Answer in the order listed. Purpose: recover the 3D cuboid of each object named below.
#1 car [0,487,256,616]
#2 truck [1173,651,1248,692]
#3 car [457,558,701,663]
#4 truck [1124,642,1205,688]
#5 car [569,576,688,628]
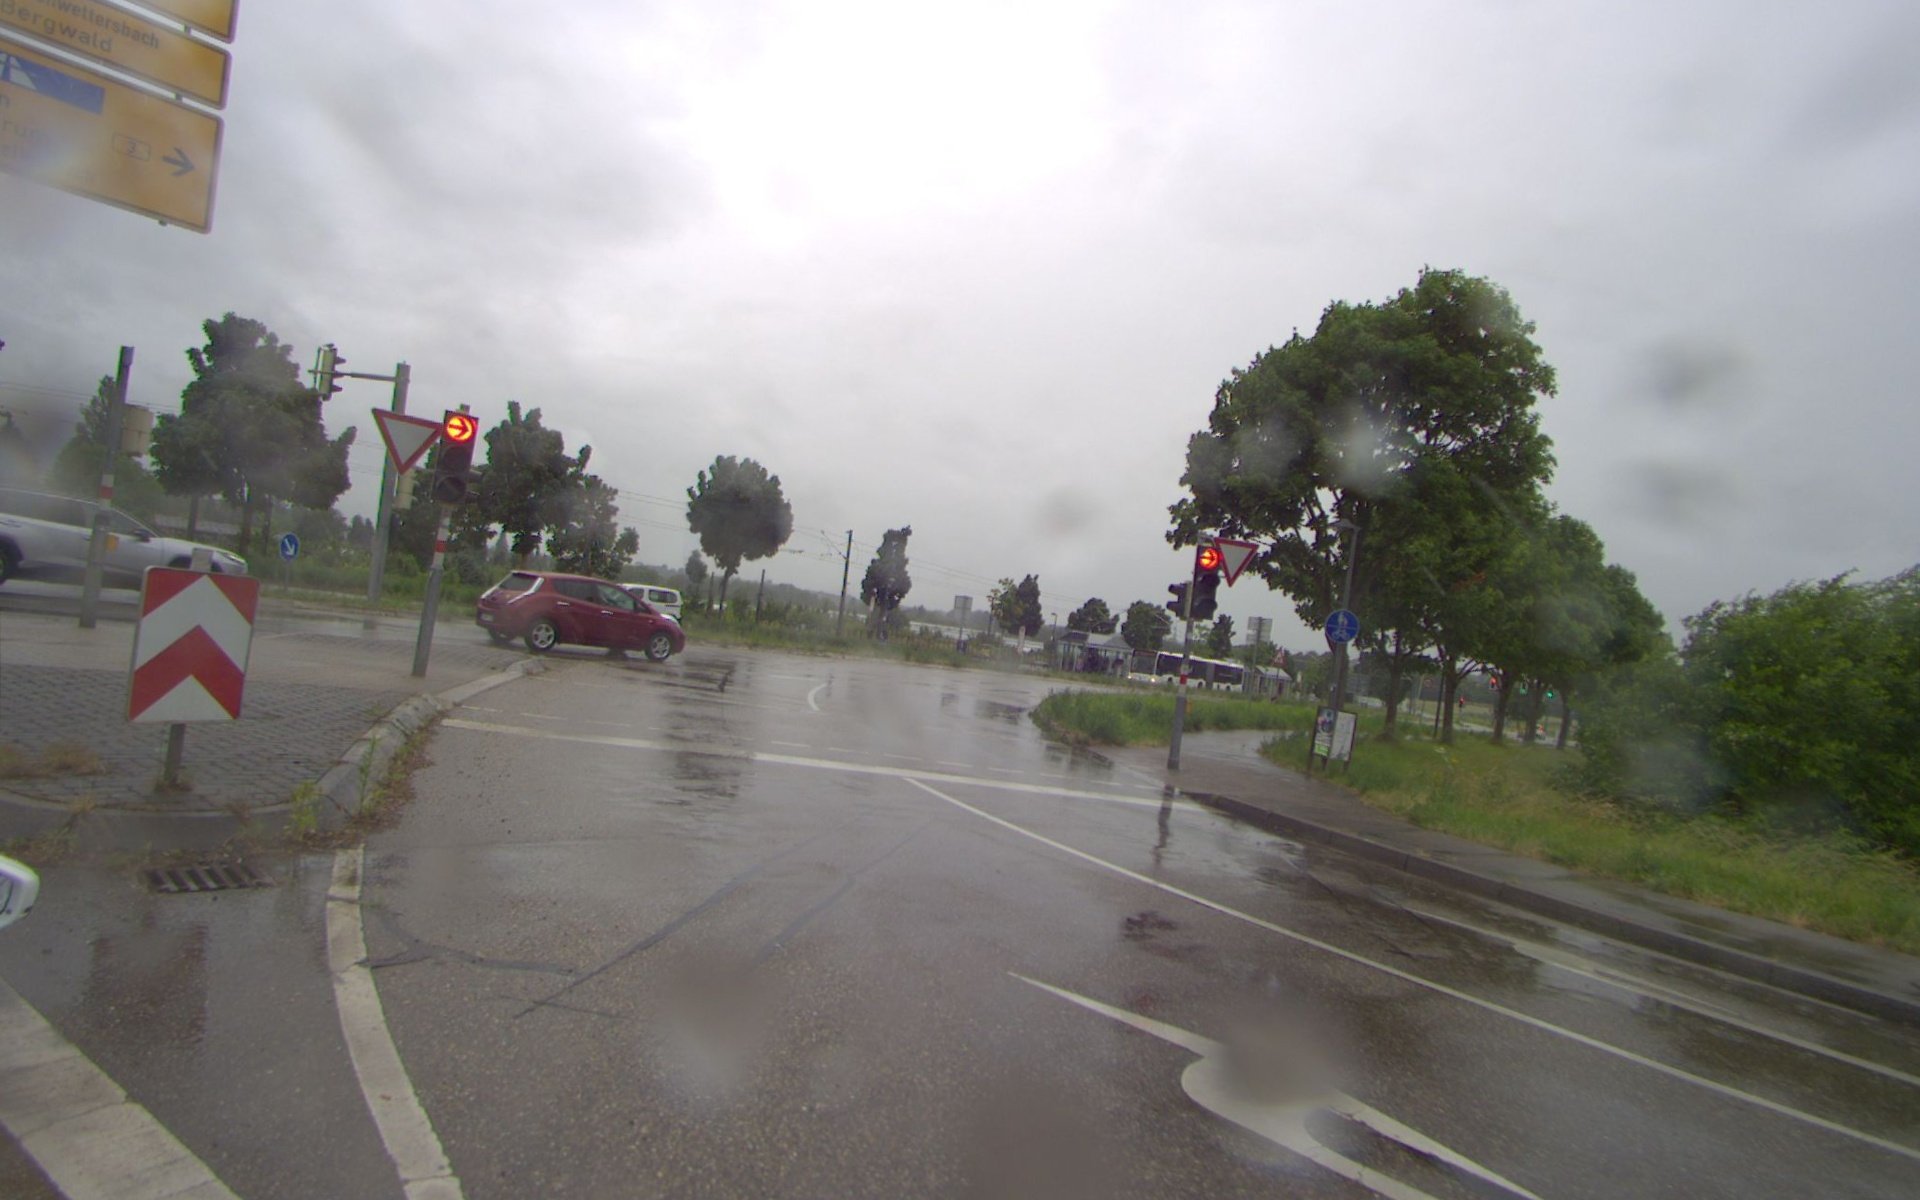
[{"bbox_3d":[-14.709,-0.870,16.669,1.884,1.597,4.528,7,-2,39],"label":"car"},{"bbox_3d":[22.537,6.476,90.140,2.616,2.804,9.324,7,-2,38],"label":"truck"},{"bbox_3d":[-7.771,0.282,20.894,1.707,1.598,4.375,7,-2,39],"label":"car"},{"bbox_3d":[17.012,5.414,82.988,2.616,2.864,8.822,7,-2,38],"label":"truck"},{"bbox_3d":[-13.891,0.105,42.326,1.798,1.572,4.326,7,-1,44],"label":"car"}]
